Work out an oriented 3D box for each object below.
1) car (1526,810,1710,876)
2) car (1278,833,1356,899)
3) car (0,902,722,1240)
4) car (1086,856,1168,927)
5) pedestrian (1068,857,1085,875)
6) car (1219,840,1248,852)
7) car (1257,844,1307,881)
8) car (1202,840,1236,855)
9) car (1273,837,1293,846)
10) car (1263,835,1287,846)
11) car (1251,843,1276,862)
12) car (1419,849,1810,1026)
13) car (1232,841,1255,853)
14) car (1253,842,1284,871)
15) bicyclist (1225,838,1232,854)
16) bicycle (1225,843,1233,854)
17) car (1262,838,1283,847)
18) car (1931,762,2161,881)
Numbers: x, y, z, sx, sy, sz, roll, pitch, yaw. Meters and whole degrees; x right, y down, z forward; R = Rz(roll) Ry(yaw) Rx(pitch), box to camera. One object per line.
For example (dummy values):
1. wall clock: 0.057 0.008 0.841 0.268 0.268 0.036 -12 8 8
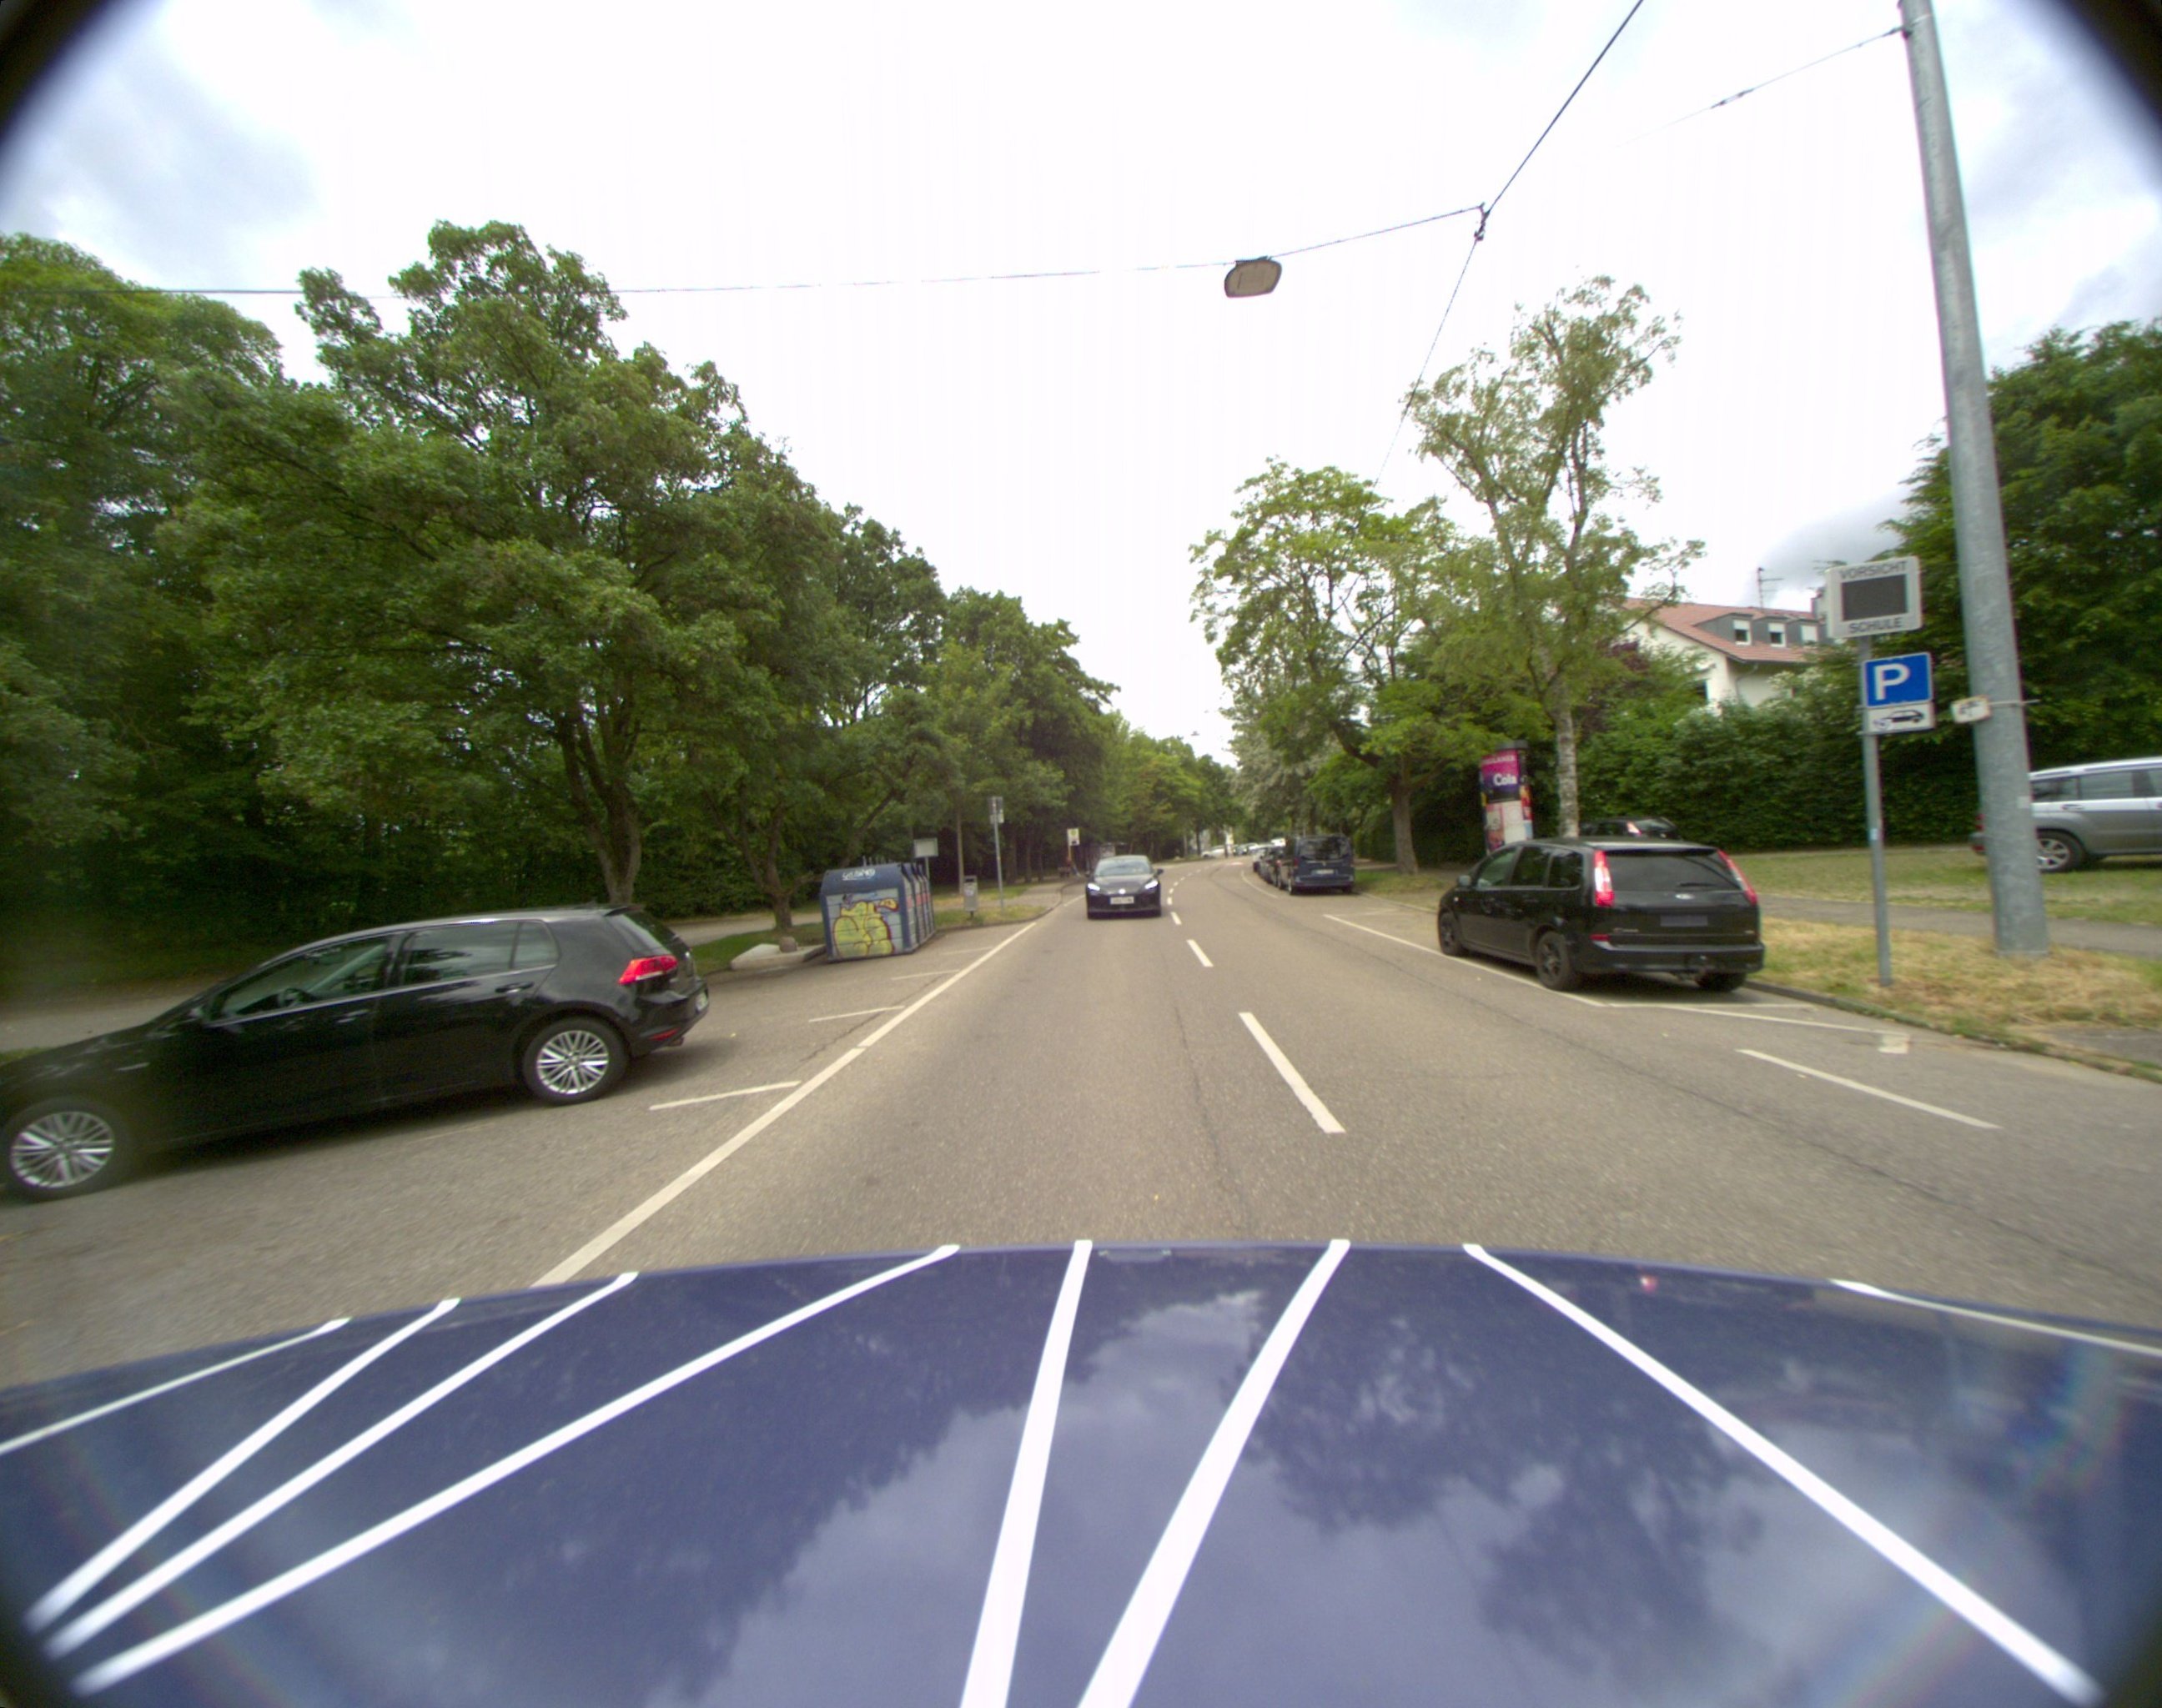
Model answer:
1. car: 14.820 -0.264 21.272 1.779 1.469 3.987 -7 1 -11
2. car: 7.742 0.330 25.344 1.861 1.898 5.086 -3 1 11
3. car: -5.151 1.364 5.785 4.002 1.406 2.055 -7 1 -18
4. car: 1.092 0.874 19.530 1.813 1.484 3.793 -4 1 1
5. pedestrian: -0.354 0.863 54.998 1.065 1.175 0.580 -3 1 11
6. car: 23.777 -1.226 118.357 3.997 1.455 1.866 -6 0 1
7. car: 9.319 0.351 35.508 1.869 1.529 4.229 -3 1 10
8. car: 19.295 -0.903 106.481 4.476 1.576 1.908 -6 0 13
9. car: 42.096 -2.649 158.234 3.852 1.426 1.656 -6 0 11
10. car: 39.171 -2.791 153.145 4.218 1.748 1.859 -6 0 1
11. car: 15.165 -0.171 63.231 1.738 1.408 4.475 -3 1 10
12. car: 5.700 0.736 8.926 1.808 1.554 4.267 -1 1 4
13. car: 20.967 -0.926 97.685 1.858 1.366 4.082 -4 0 26
14. car: 11.522 0.122 46.819 1.738 1.569 4.144 -3 1 13
15. bicyclist: 17.269 -0.959 88.732 0.646 1.769 0.628 -4 2 14
16. bicycle: 17.278 -0.679 88.644 0.647 1.230 1.879 -4 0 15
17. car: 37.798 -2.301 150.383 3.852 1.430 1.717 -6 0 11
18. car: 16.726 -0.567 11.677 2.002 1.640 4.396 -7 0 -25
